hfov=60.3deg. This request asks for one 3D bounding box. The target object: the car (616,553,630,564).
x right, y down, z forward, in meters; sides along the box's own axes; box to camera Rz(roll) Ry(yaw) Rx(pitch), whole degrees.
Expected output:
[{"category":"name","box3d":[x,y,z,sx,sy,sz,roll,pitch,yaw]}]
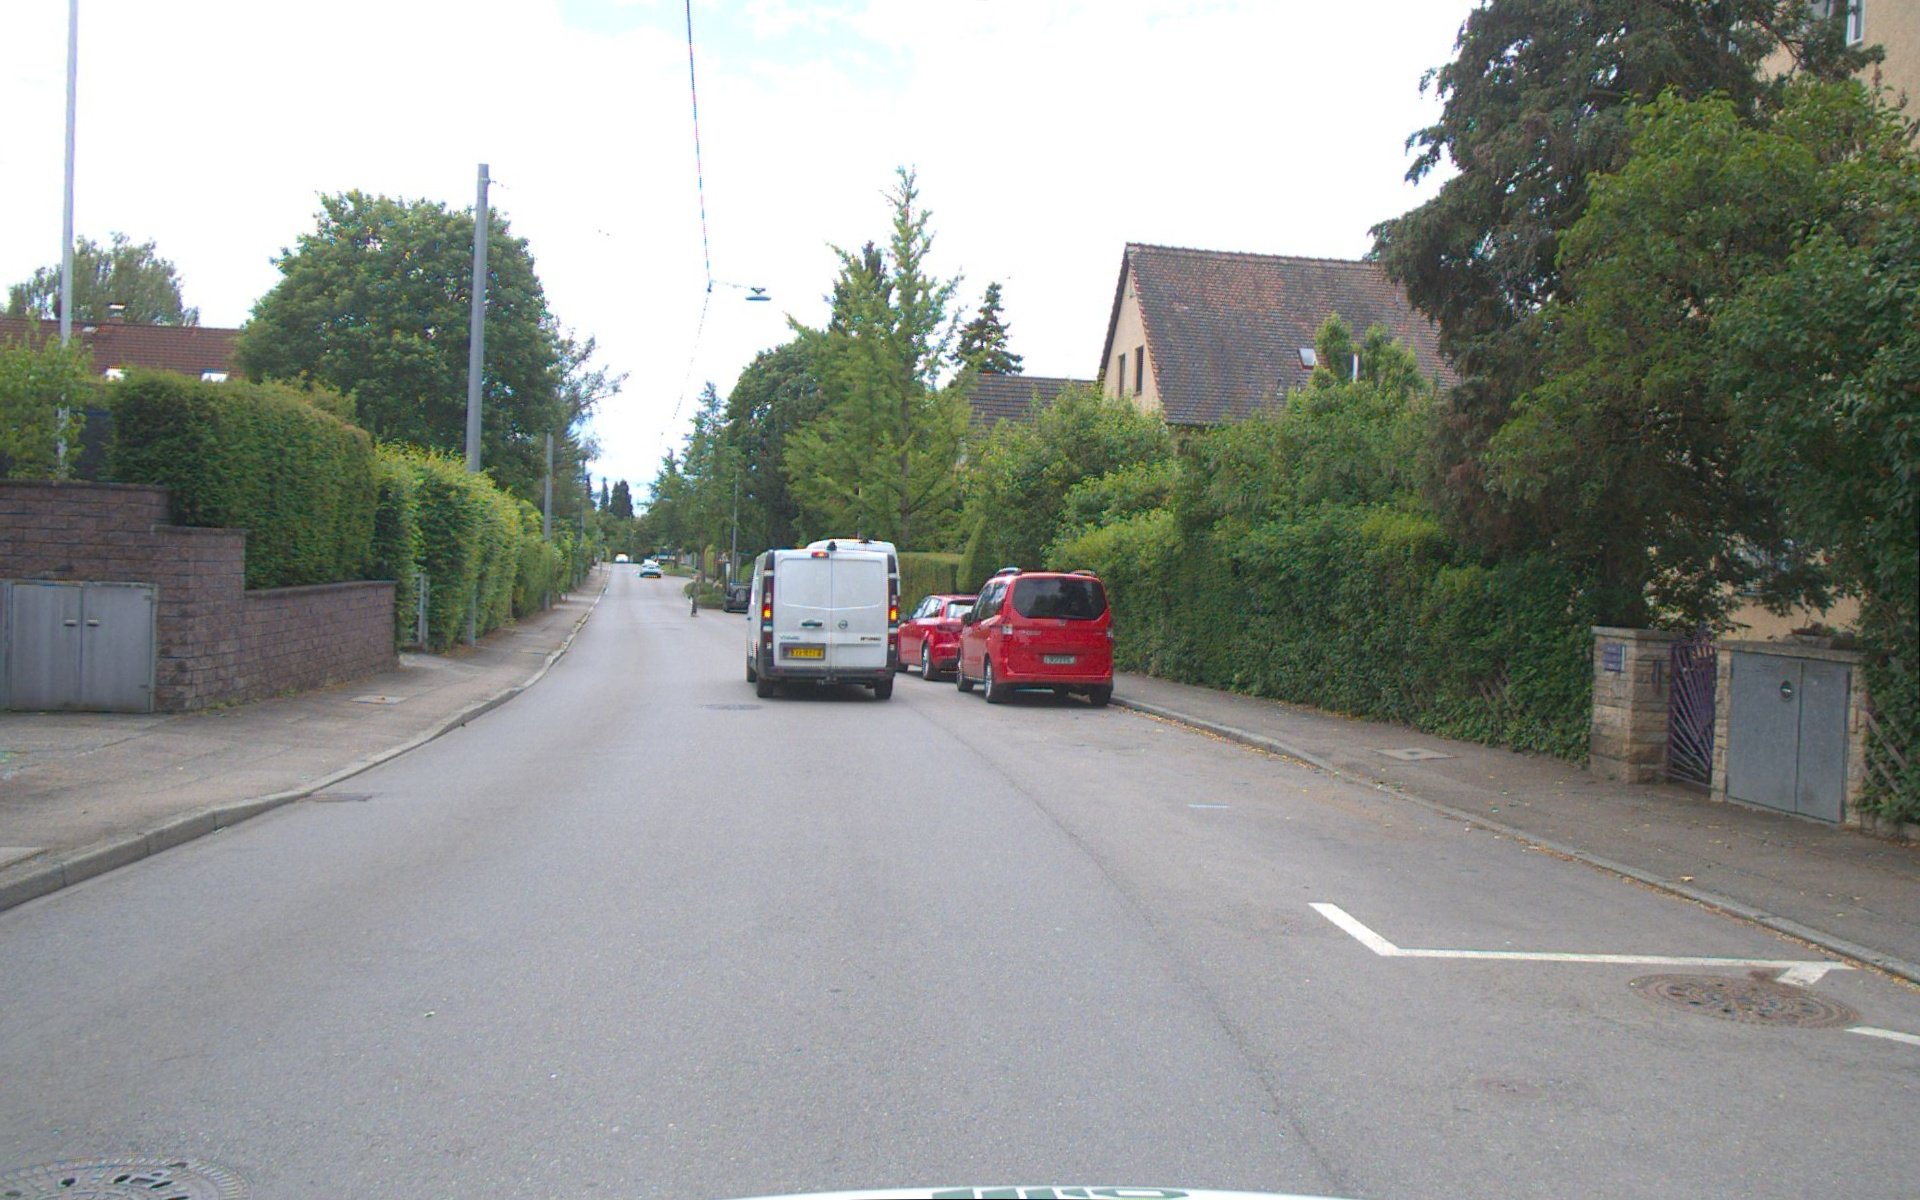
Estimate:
[{"category":"car","box3d":[-50.868,-6.249,249.635,1.656,1.501,3.578,3,0,-4]}]

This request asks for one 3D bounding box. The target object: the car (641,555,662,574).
[{"category":"car","box3d":[-29.176,-3.363,156.391,1.745,1.679,3.633,3,2,-13]}]

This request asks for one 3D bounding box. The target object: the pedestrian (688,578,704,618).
[{"category":"pedestrian","box3d":[-11.039,-0.089,69.101,0.545,1.586,0.552,3,1,-8]}]

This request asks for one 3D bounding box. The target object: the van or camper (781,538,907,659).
[{"category":"van or camper","box3d":[-3.080,-0.064,42.351,2.032,2.721,6.306,4,0,-14]}]

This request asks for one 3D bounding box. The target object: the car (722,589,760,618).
[{"category":"car","box3d":[-10.860,0.164,82.053,1.504,1.327,3.217,4,0,-13]}]

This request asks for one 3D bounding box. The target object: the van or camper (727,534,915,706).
[{"category":"van or camper","box3d":[-2.102,0.169,23.507,1.891,2.048,4.815,4,2,-13]}]

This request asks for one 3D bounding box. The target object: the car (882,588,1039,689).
[{"category":"car","box3d":[-0.080,0.620,28.849,1.684,1.493,4.252,4,0,-14]}]

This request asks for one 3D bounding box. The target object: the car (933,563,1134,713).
[{"category":"car","box3d":[0.919,0.470,23.748,1.729,1.828,4.937,4,0,-10]}]
